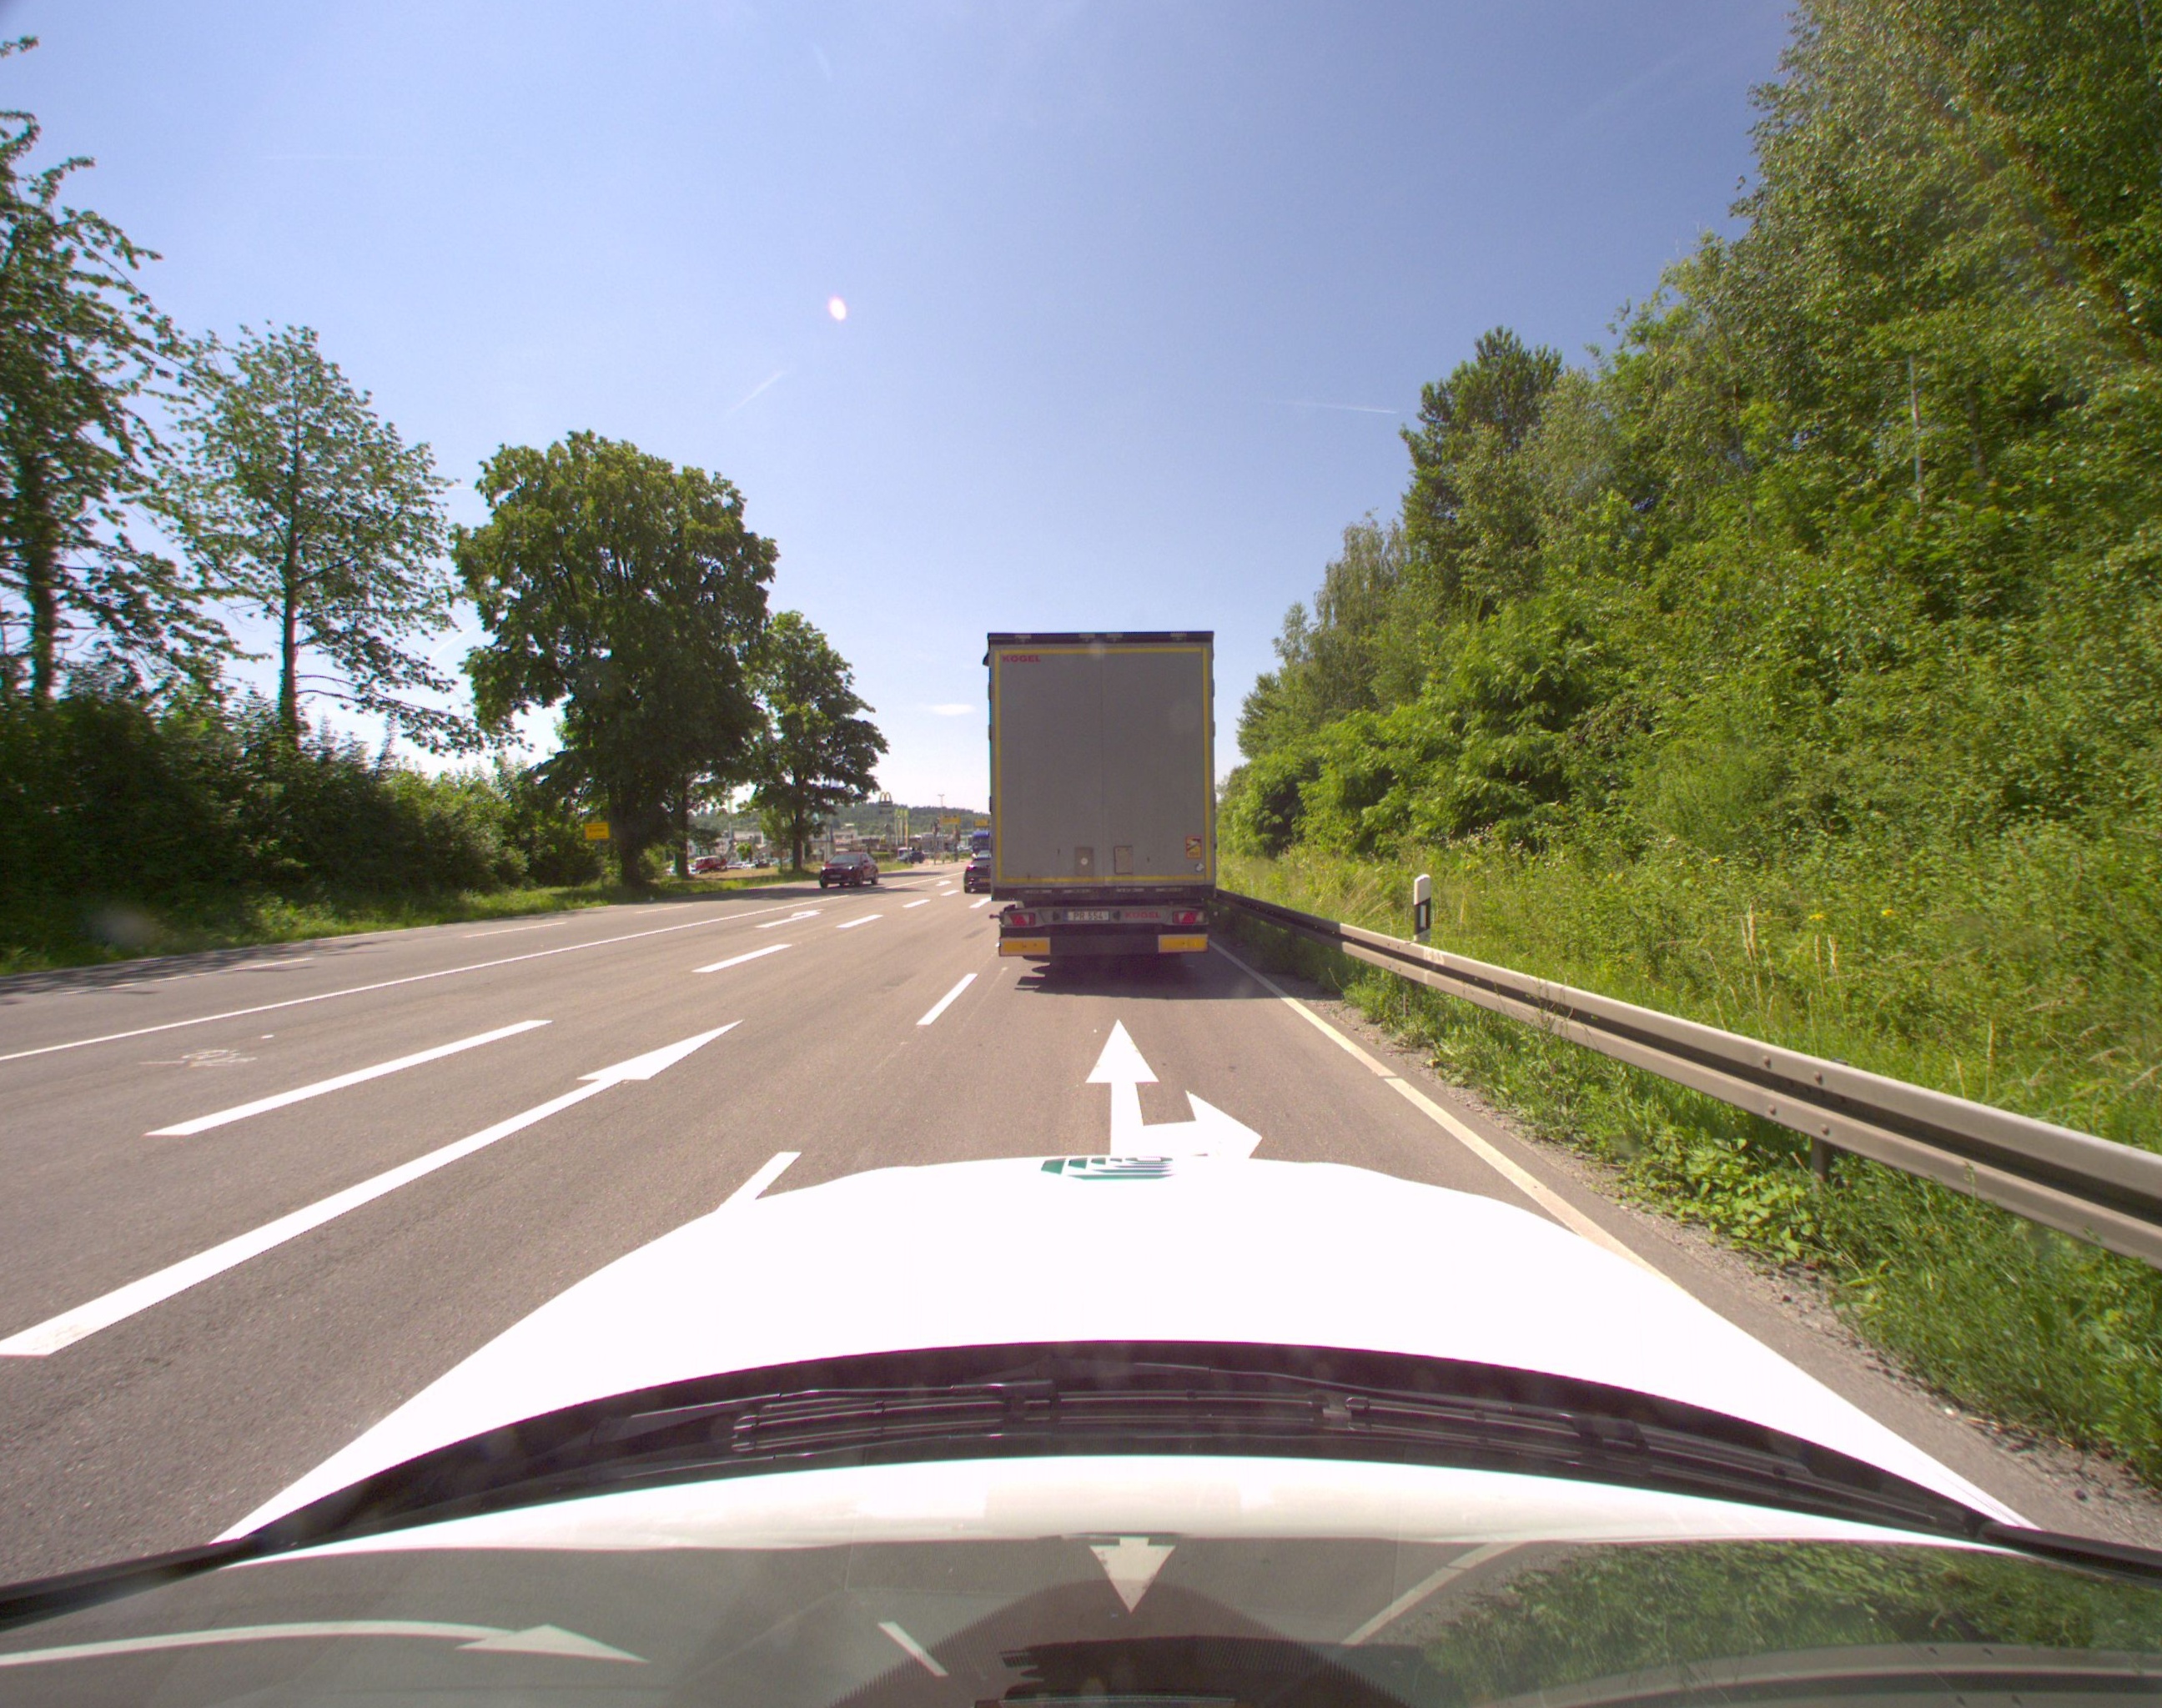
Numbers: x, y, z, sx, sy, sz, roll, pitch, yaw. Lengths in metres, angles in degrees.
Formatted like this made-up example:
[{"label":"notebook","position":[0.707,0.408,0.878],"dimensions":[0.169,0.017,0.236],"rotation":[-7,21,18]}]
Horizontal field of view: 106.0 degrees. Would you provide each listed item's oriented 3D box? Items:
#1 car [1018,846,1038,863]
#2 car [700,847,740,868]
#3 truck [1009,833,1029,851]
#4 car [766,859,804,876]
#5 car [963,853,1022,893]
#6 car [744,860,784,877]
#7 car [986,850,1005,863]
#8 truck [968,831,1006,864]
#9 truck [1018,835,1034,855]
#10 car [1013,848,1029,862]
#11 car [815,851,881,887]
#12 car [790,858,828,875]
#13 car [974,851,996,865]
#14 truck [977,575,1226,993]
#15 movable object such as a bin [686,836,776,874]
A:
[{"label":"car","position":[-6.534,0.030,100.474],"dimensions":[1.986,2.013,4.001],"rotation":[-1,0,1]},{"label":"car","position":[-34.834,0.352,78.571],"dimensions":[3.949,2.013,2.012],"rotation":[-1,0,42]},{"label":"truck","position":[-11.833,-2.302,156.617],"dimensions":[2.837,3.351,11.480],"rotation":[-1,0,0]},{"label":"car","position":[-30.330,1.352,83.318],"dimensions":[3.948,1.618,1.852],"rotation":[-1,0,38]},{"label":"car","position":[-3.332,0.688,31.405],"dimensions":[1.680,1.398,4.403],"rotation":[-1,0,1]},{"label":"car","position":[-31.730,1.465,81.463],"dimensions":[3.948,1.651,2.013],"rotation":[-1,0,38]},{"label":"car","position":[-9.719,0.304,92.687],"dimensions":[1.761,1.386,3.999],"rotation":[0,-1,0]},{"label":"truck","position":[-12.865,-0.865,112.880],"dimensions":[2.958,4.176,16.576],"rotation":[-1,0,1]},{"label":"truck","position":[-12.569,-1.913,184.992],"dimensions":[3.141,4.349,17.507],"rotation":[-1,0,-5]},{"label":"car","position":[-8.631,0.089,117.616],"dimensions":[1.766,2.013,4.002],"rotation":[-1,0,2]},{"label":"car","position":[-10.564,0.637,37.200],"dimensions":[1.897,1.508,3.764],"rotation":[-1,0,0]},{"label":"car","position":[-28.593,1.303,85.501],"dimensions":[3.948,1.618,1.852],"rotation":[-1,0,38]},{"label":"car","position":[-9.667,0.394,82.565],"dimensions":[1.761,1.386,3.999],"rotation":[0,-1,0]},{"label":"truck","position":[0.494,-0.715,17.364],"dimensions":[2.745,4.639,16.661],"rotation":[0,-1,2]},{"label":"movable object such as a bin","position":[-31.703,0.046,73.917],"dimensions":[3.013,3.298,6.835],"rotation":[-1,1,41]}]
